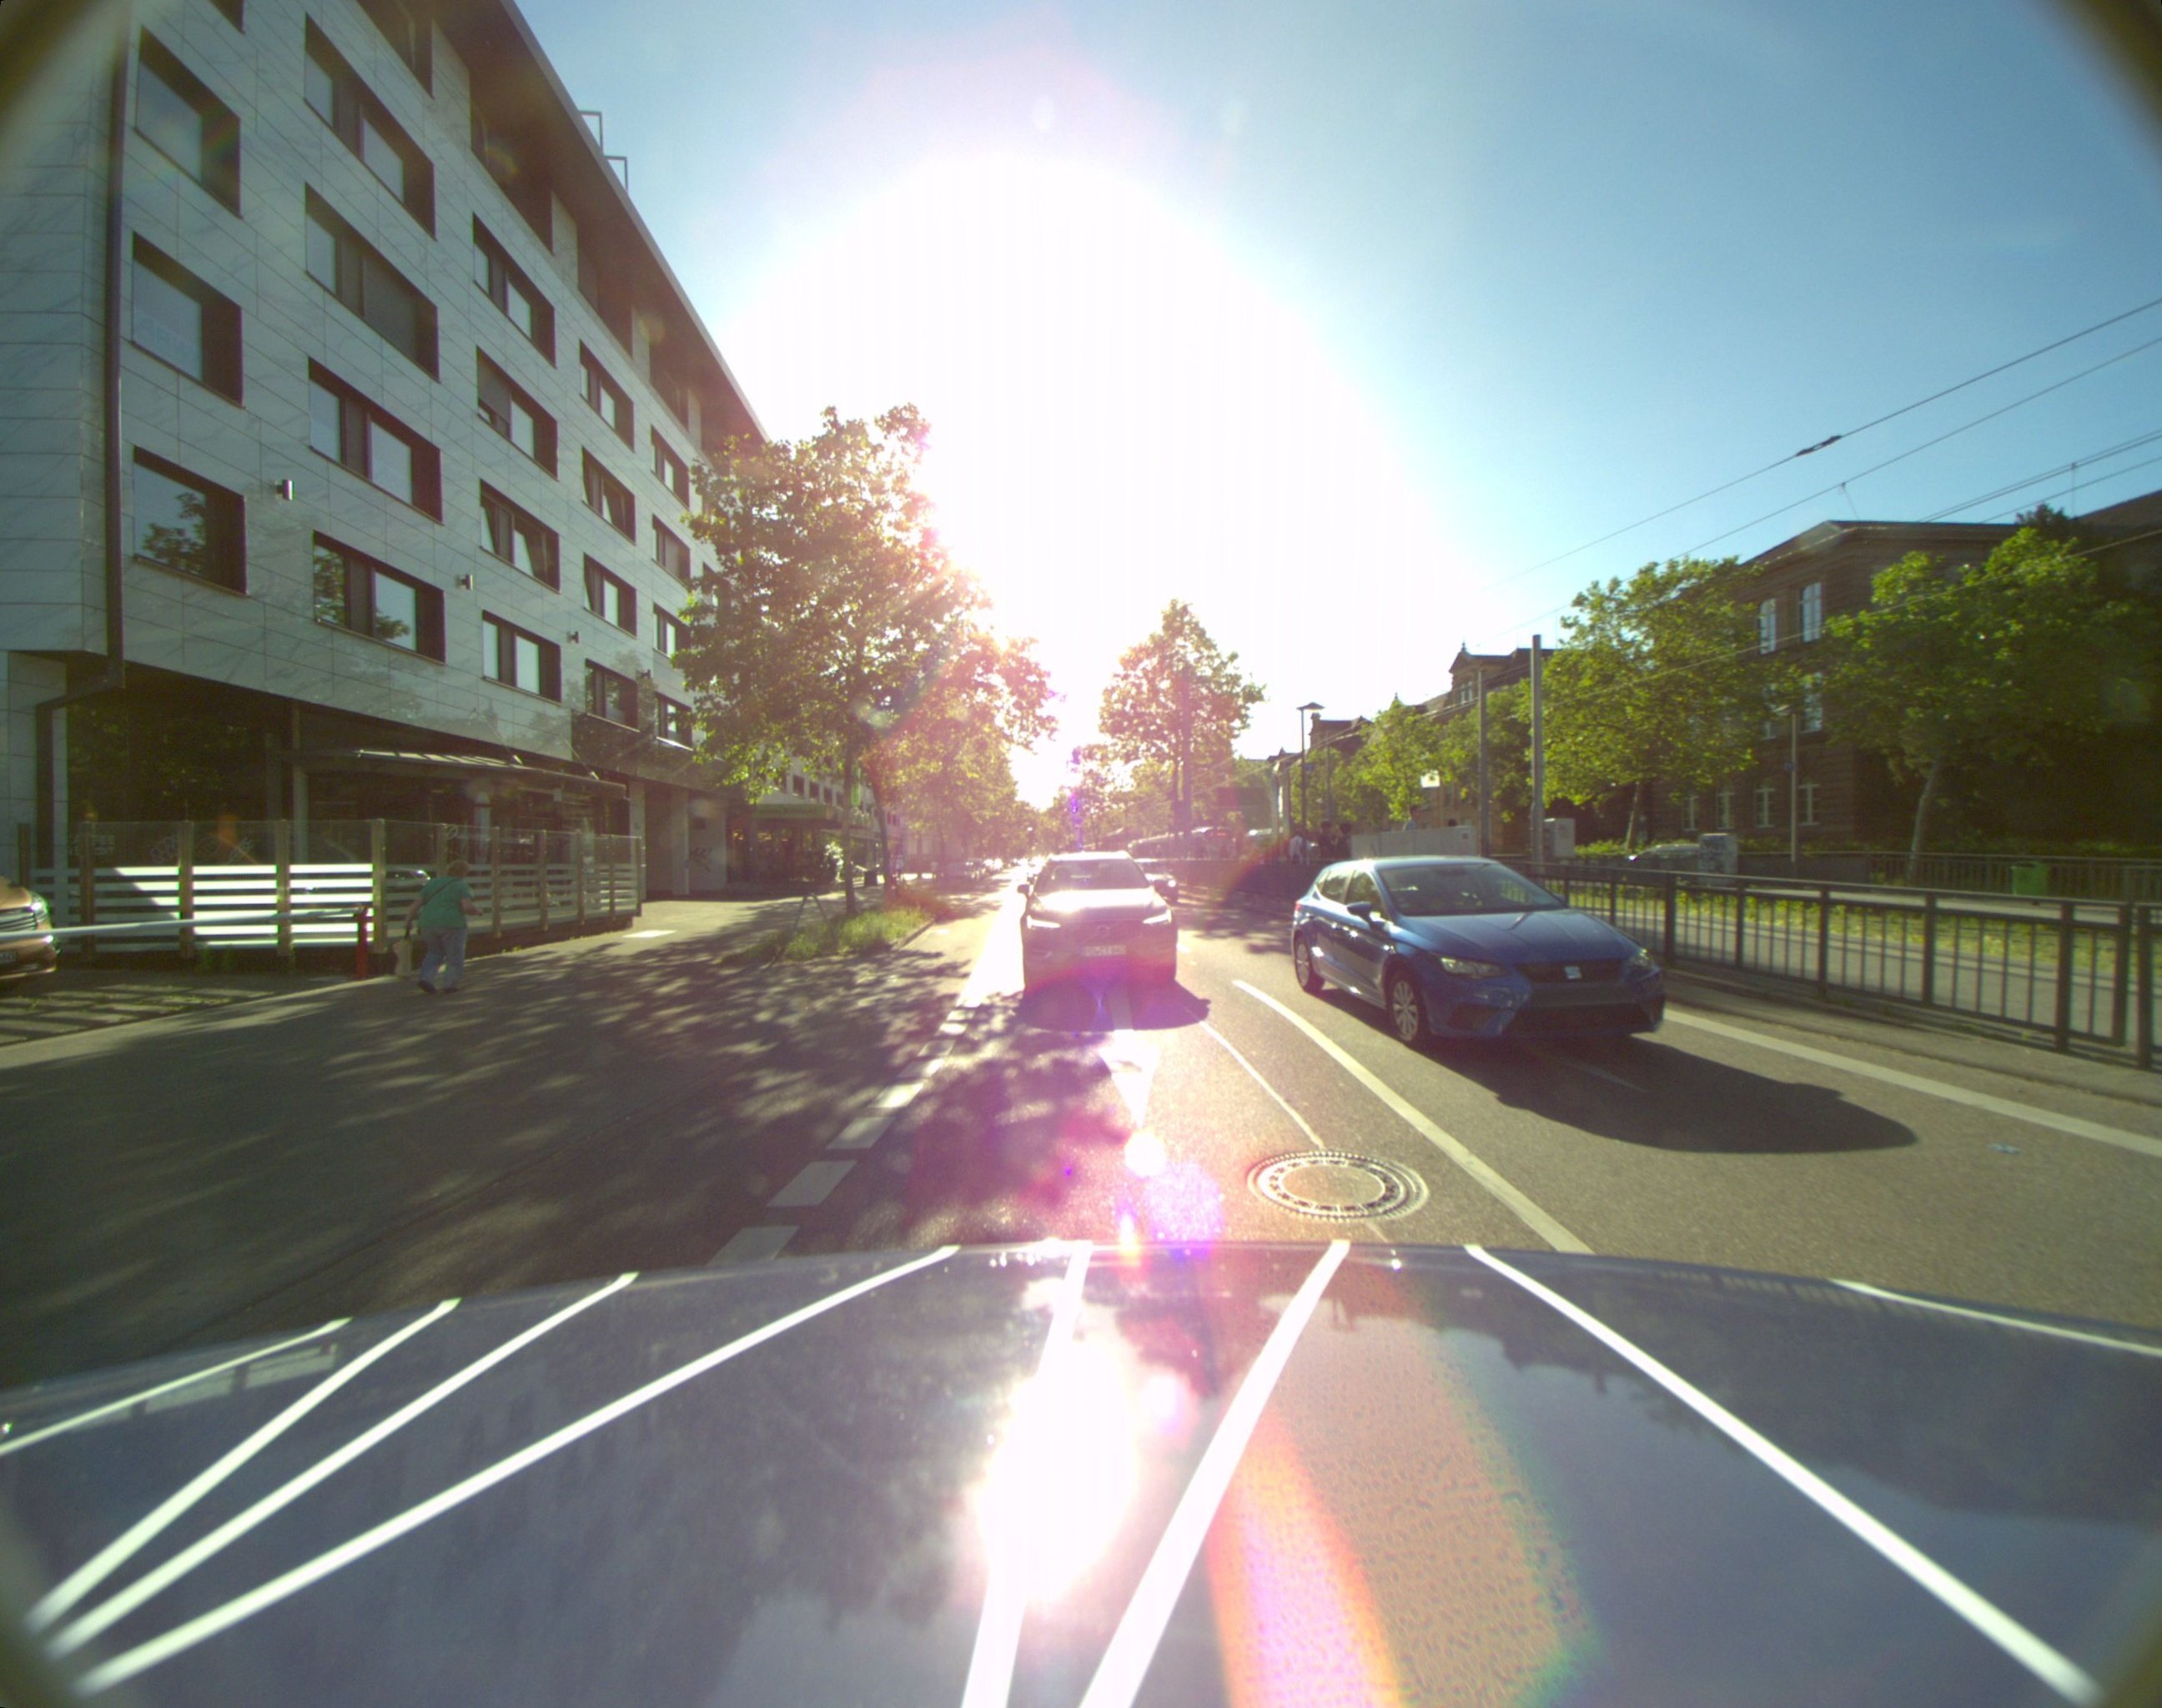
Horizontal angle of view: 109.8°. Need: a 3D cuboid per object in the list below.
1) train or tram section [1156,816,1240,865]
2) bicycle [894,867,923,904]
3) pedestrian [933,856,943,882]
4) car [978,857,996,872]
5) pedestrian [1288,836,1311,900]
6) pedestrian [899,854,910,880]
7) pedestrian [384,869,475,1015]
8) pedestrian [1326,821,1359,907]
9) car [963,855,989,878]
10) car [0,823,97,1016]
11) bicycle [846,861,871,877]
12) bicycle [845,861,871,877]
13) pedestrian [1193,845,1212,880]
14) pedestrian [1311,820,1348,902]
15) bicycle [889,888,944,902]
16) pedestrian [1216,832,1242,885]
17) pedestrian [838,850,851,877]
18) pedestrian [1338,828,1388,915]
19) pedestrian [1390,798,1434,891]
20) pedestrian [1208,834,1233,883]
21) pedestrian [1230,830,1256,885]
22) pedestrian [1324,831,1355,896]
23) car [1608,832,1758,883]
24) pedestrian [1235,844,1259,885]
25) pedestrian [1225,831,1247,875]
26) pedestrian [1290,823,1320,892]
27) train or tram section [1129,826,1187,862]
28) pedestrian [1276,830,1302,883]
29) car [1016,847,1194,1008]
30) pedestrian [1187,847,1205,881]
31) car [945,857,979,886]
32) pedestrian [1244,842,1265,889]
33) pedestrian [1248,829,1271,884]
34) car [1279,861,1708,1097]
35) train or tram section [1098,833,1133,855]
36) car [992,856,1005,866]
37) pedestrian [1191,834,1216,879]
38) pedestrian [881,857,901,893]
[{"bbox_3d":[9.325,-0.959,63.835,2.857,3.414,18.206,-3,0,-4],"label":"train or tram section"},{"bbox_3d":[-5.764,1.033,25.386,0.791,1.126,1.843,-1,0,-17],"label":"bicycle"},{"bbox_3d":[-9.650,0.996,51.245,0.561,1.694,1.051,-1,1,-5],"label":"pedestrian"},{"bbox_3d":[-9.518,1.027,76.711,1.678,1.430,3.688,1,1,-6],"label":"car"},{"bbox_3d":[5.913,0.379,20.516,0.506,1.692,0.612,-1,1,23],"label":"pedestrian"},{"bbox_3d":[-11.913,0.897,51.261,0.561,1.734,0.878,-1,1,-5],"label":"pedestrian"},{"bbox_3d":[-7.590,0.974,8.847,0.740,1.566,0.830,-1,1,-43],"label":"pedestrian"},{"bbox_3d":[5.378,0.202,15.622,0.538,1.724,0.550,0,1,29],"label":"pedestrian"},{"bbox_3d":[-8.478,0.997,61.424,1.769,1.781,4.391,0,0,-4],"label":"car"},{"bbox_3d":[-13.449,0.608,7.398,4.911,1.973,1.912,1,0,-4],"label":"car"},{"bbox_3d":[-15.696,1.043,53.634,1.701,1.049,0.587,1,0,22],"label":"bicycle"},{"bbox_3d":[-15.423,1.029,52.590,1.701,1.049,0.587,1,-1,22],"label":"bicycle"},{"bbox_3d":[4.445,0.313,27.868,0.535,1.239,0.604,-1,1,-6],"label":"pedestrian"},{"bbox_3d":[5.365,0.146,16.430,0.549,1.724,0.539,-1,1,-9],"label":"pedestrian"},{"bbox_3d":[-5.492,1.355,25.421,1.613,0.351,1.388,-1,0,-4],"label":"bicycle"},{"bbox_3d":[4.779,0.140,24.537,0.662,1.686,0.570,-1,1,-4],"label":"pedestrian"},{"bbox_3d":[-15.612,0.612,50.170,0.615,1.705,0.611,5,-1,-29],"label":"pedestrian"},{"bbox_3d":[5.371,0.310,14.500,0.642,1.610,0.640,-1,3,-8],"label":"pedestrian"},{"bbox_3d":[6.260,-0.176,14.385,0.549,1.724,0.539,-1,1,-9],"label":"pedestrian"},{"bbox_3d":[4.678,0.161,25.489,0.662,1.624,0.570,-1,1,-4],"label":"pedestrian"},{"bbox_3d":[5.022,0.109,23.579,0.662,1.686,0.570,-1,1,-4],"label":"pedestrian"},{"bbox_3d":[7.126,0.267,20.961,0.555,1.760,0.611,-1,1,-9],"label":"pedestrian"},{"bbox_3d":[22.258,0.085,28.355,1.999,1.652,4.226,-3,1,-5],"label":"car"},{"bbox_3d":[4.934,0.312,22.584,0.546,1.185,0.530,-1,1,-5],"label":"pedestrian"},{"bbox_3d":[5.827,-0.035,28.615,0.620,1.640,0.622,-1,1,-9],"label":"pedestrian"},{"bbox_3d":[5.574,0.086,18.931,0.507,1.692,0.611,-1,1,-8],"label":"pedestrian"},{"bbox_3d":[7.981,-0.963,82.064,2.879,3.414,18.267,-3,0,-4],"label":"train or tram section"},{"bbox_3d":[6.083,0.069,22.228,0.546,1.510,0.530,-1,1,-5],"label":"pedestrian"},{"bbox_3d":[0.106,0.792,10.514,1.914,1.695,4.271,-2,1,-5],"label":"car"},{"bbox_3d":[4.382,0.386,29.039,0.535,1.292,0.604,-1,1,-8],"label":"pedestrian"},{"bbox_3d":[-6.928,0.974,44.600,1.569,1.541,3.998,-2,0,-4],"label":"car"},{"bbox_3d":[4.857,0.322,21.325,0.417,1.308,0.507,-1,1,-6],"label":"pedestrian"},{"bbox_3d":[5.622,0.070,23.930,0.516,1.698,0.621,-1,1,-5],"label":"pedestrian"},{"bbox_3d":[3.182,0.828,6.864,1.707,1.407,3.875,-3,0,0],"label":"car"},{"bbox_3d":[4.110,-1.176,94.982,2.570,2.517,15.066,-1,0,-4],"label":"train or tram section"},{"bbox_3d":[-12.828,1.074,117.816,1.840,1.556,4.271,-2,0,-5],"label":"car"},{"bbox_3d":[4.845,0.083,29.993,0.778,1.742,0.723,-1,1,-8],"label":"pedestrian"},{"bbox_3d":[-8.531,0.934,34.154,0.700,1.603,0.867,1,0,-3],"label":"pedestrian"}]
